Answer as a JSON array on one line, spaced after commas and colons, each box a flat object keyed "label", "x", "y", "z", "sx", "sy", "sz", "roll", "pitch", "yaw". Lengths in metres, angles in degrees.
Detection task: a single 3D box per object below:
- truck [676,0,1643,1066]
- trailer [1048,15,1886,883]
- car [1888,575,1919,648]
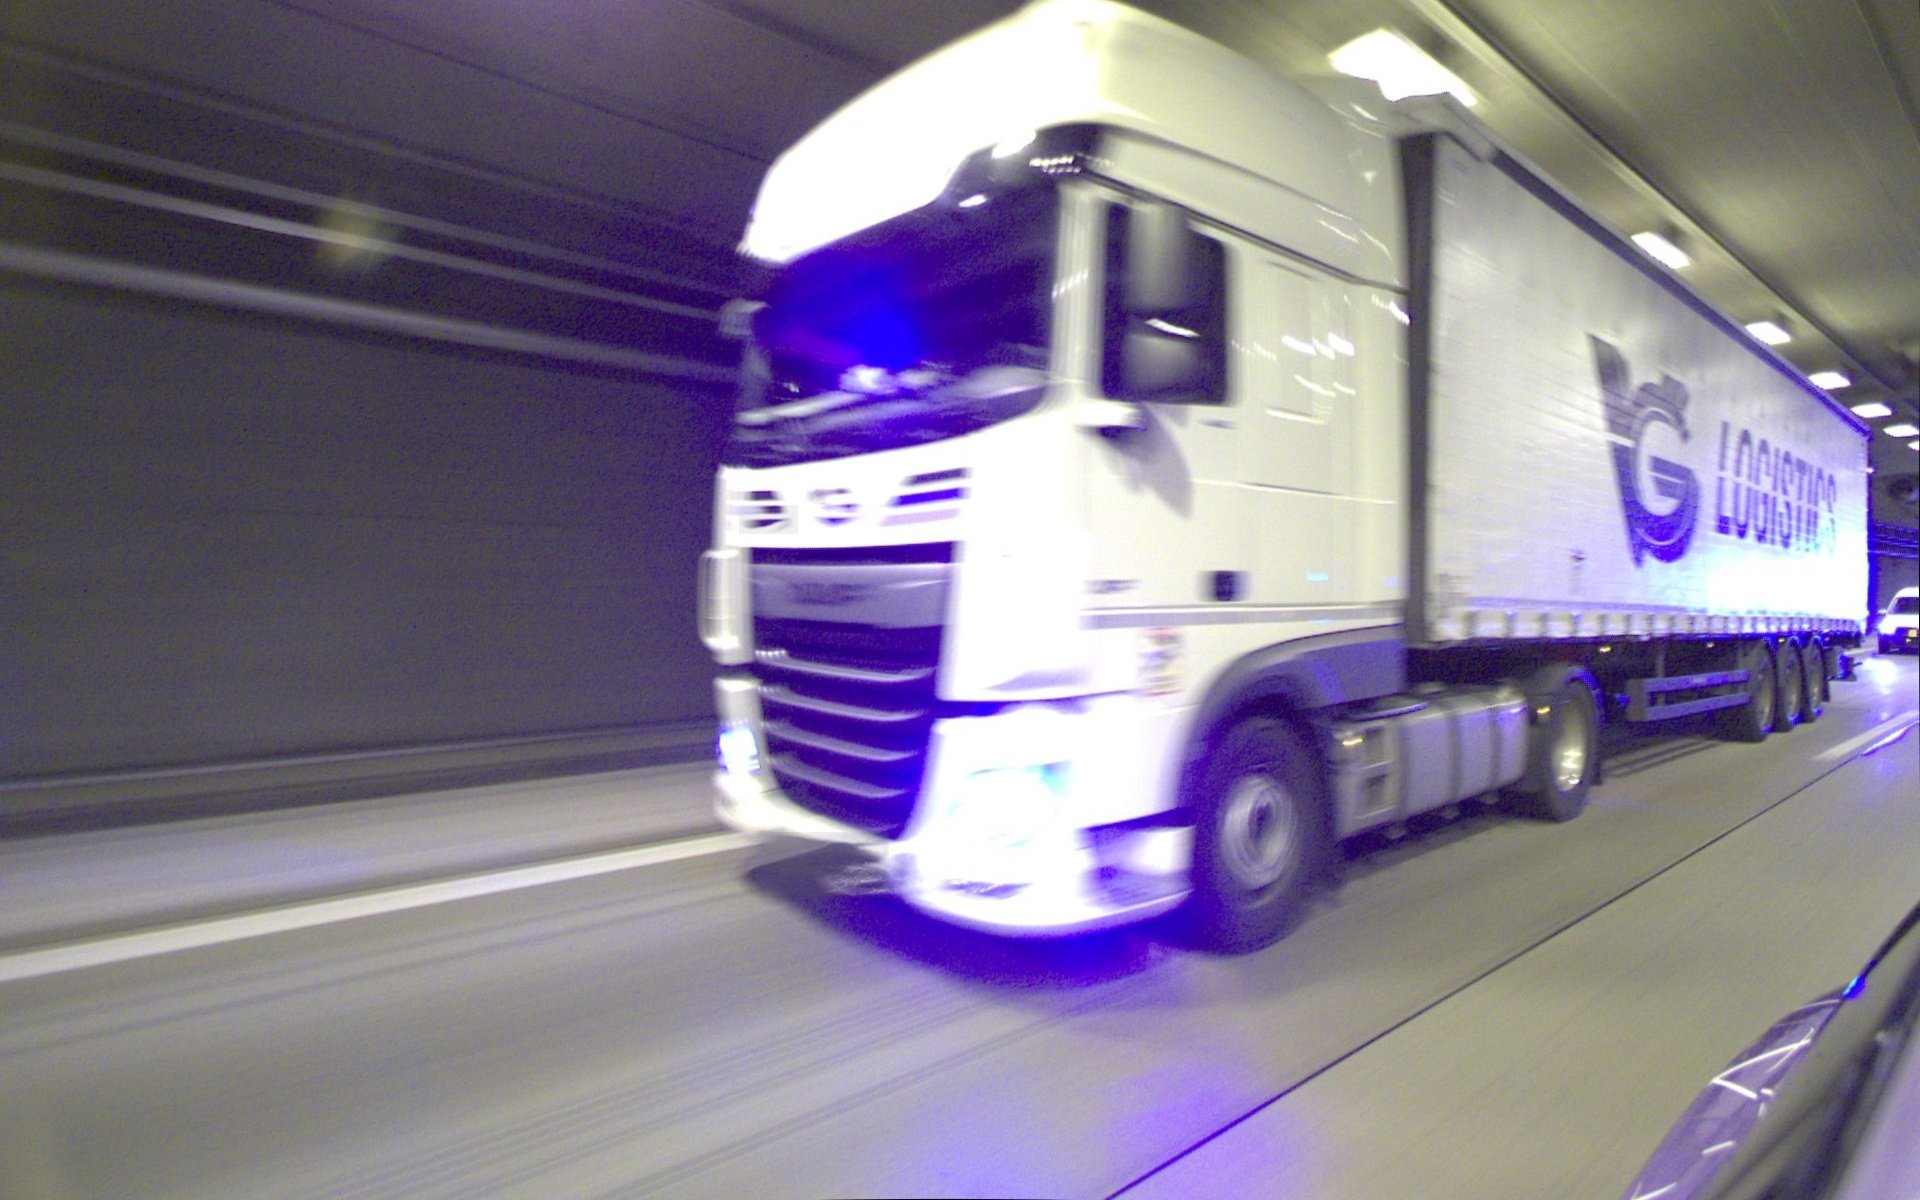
[{"label": "truck", "x": 1.626, "y": -0.674, "z": 6.105, "sx": 5.899, "sy": 4.216, "sz": 2.651, "roll": 0, "pitch": 0, "yaw": -41}, {"label": "trailer", "x": 6.663, "y": -0.759, "z": 10.419, "sx": 13.756, "sy": 4.216, "sz": 2.624, "roll": 0, "pitch": -1, "yaw": -41}, {"label": "car", "x": 26.823, "y": 0.294, "z": 27.476, "sx": 4.211, "sy": 1.883, "sz": 1.839, "roll": 0, "pitch": 0, "yaw": -39}]
